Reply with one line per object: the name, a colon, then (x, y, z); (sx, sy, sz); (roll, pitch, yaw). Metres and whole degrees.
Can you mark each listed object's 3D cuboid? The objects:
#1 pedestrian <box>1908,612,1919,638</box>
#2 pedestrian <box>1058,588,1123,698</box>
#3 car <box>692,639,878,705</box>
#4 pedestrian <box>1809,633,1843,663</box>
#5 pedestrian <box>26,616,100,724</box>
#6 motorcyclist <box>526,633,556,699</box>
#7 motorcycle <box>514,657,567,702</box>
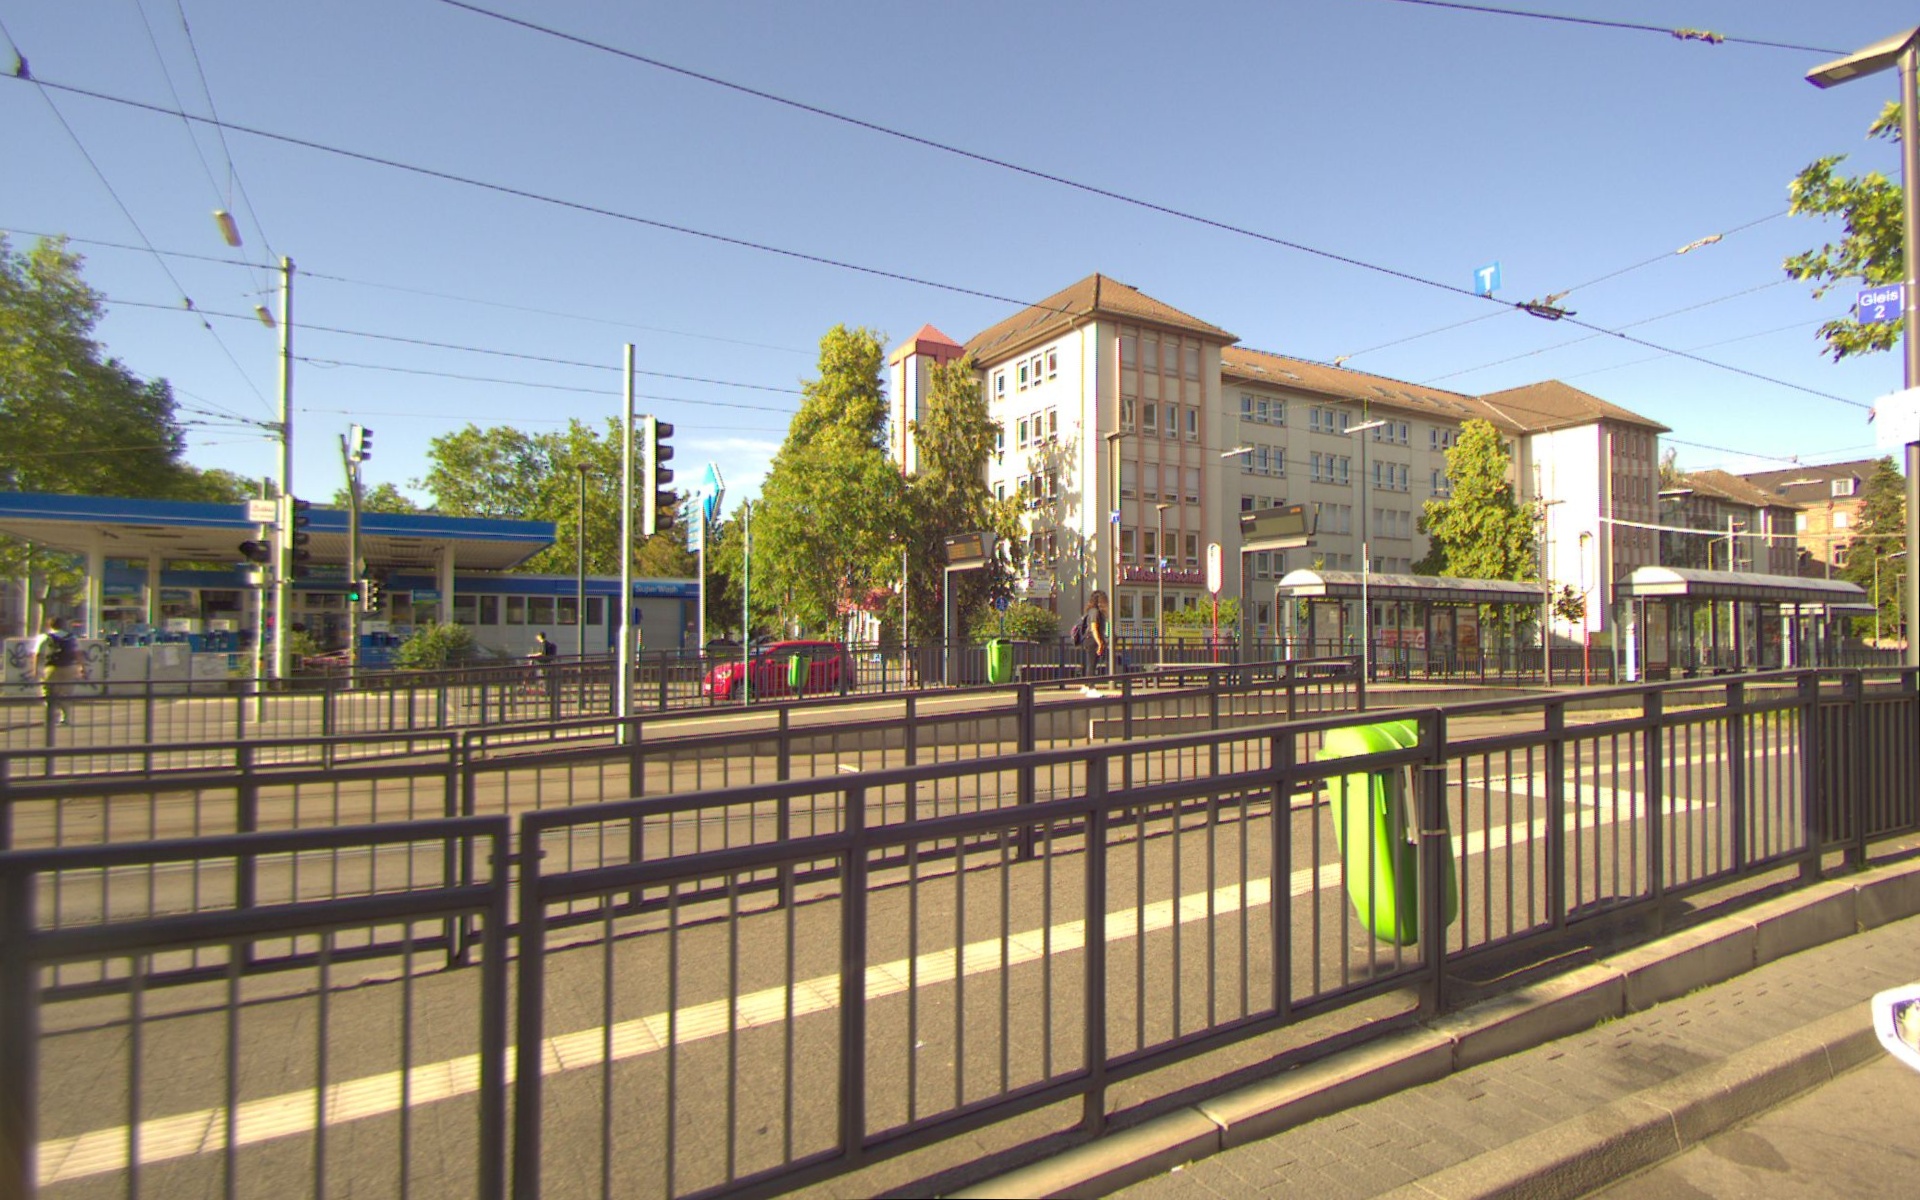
pedestrian: (69.763, 1.841, 73.316); (0.566, 1.861, 0.689); (1, -2, -30)
pedestrian: (1.979, 0.653, 15.267); (0.726, 1.613, 0.681); (1, -2, -29)
car: (-4.097, 1.641, 23.630); (3.951, 1.439, 1.790); (1, -2, -29)
pedestrian: (40.170, 2.213, 46.596); (0.869, 1.394, 0.970); (1, -2, -30)
pedestrian: (-14.689, 1.126, 16.474); (0.819, 1.712, 0.646); (2, -2, -38)
motorcyclist: (-12.061, 1.893, 28.908); (0.735, 1.877, 0.549); (1, -2, -26)
motorcycle: (-12.073, 2.267, 28.896); (1.370, 1.261, 0.548); (1, -2, -27)
